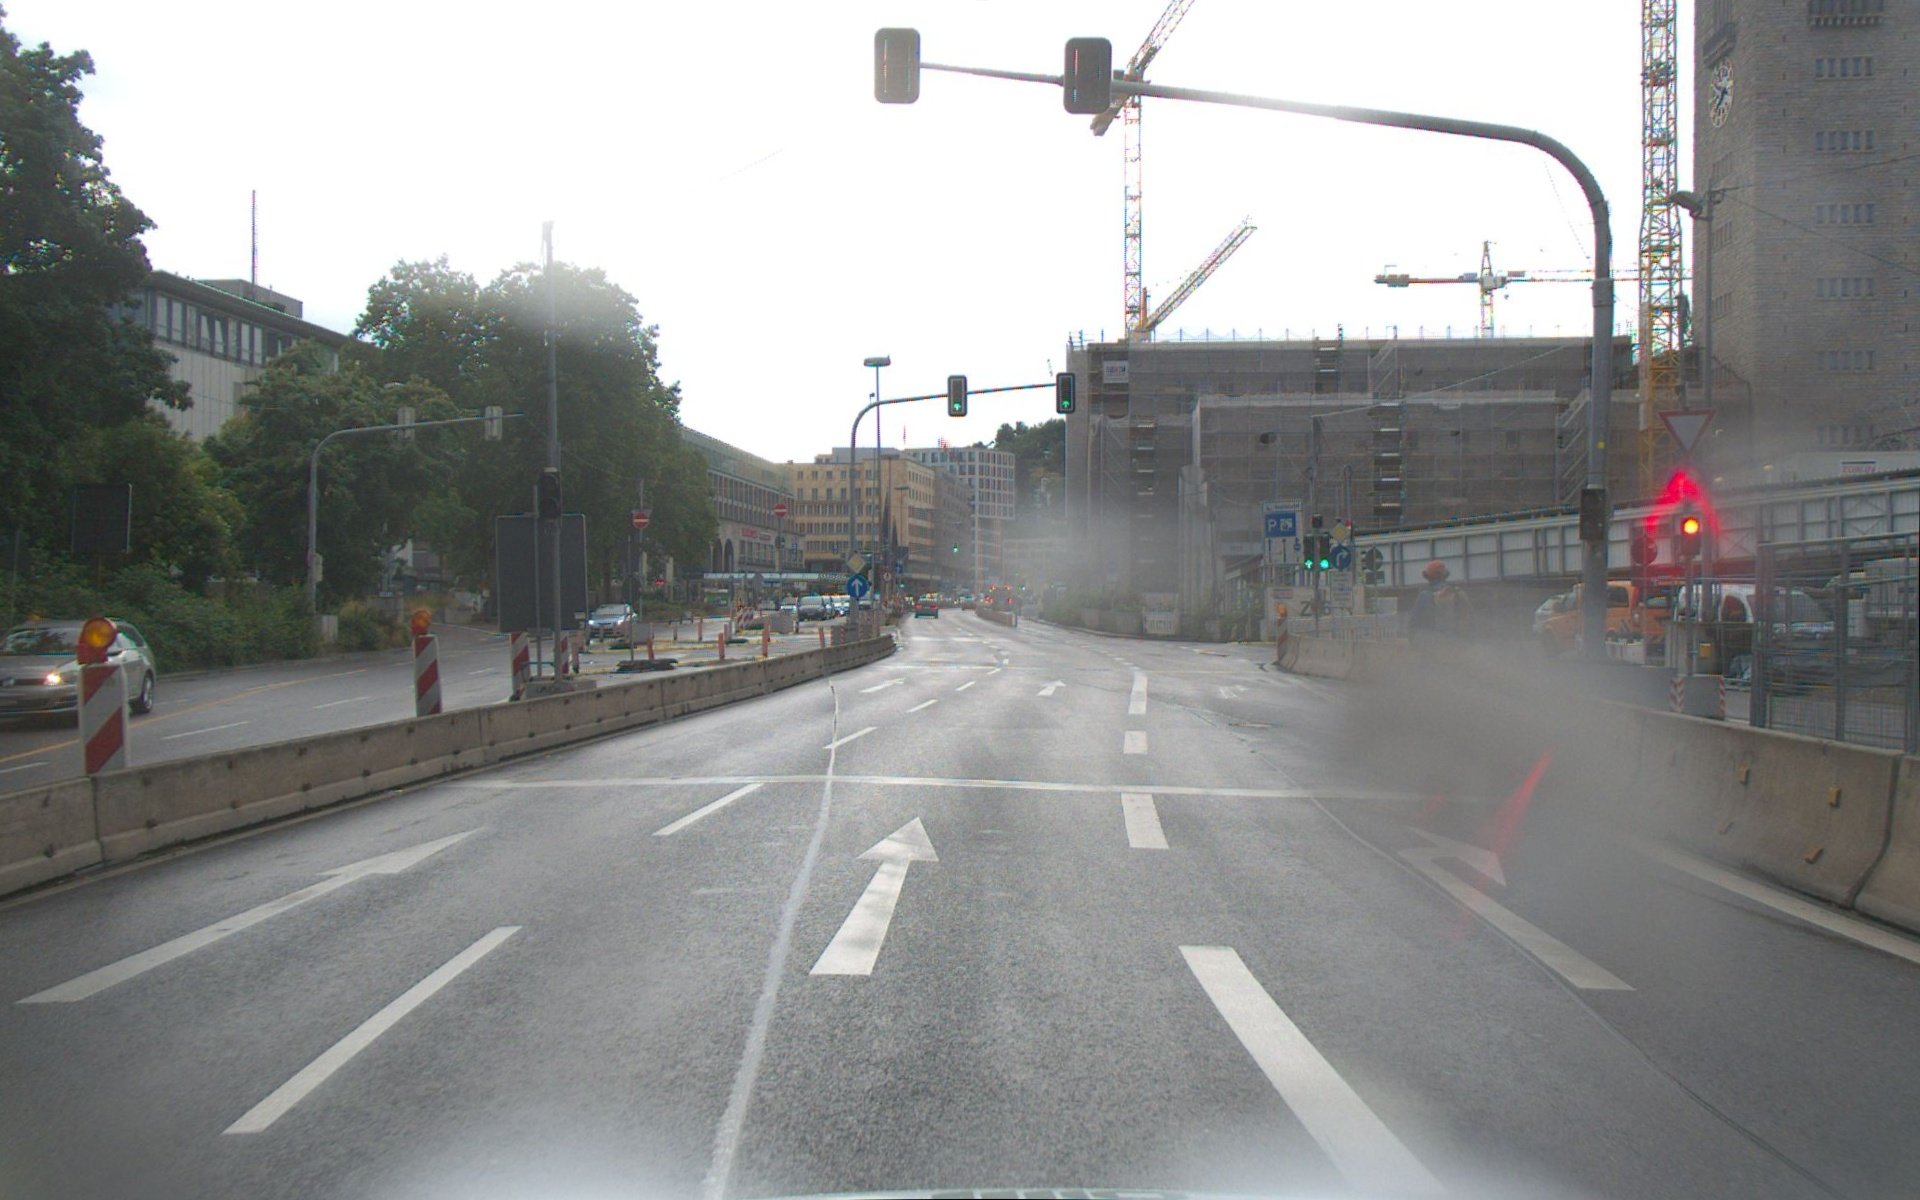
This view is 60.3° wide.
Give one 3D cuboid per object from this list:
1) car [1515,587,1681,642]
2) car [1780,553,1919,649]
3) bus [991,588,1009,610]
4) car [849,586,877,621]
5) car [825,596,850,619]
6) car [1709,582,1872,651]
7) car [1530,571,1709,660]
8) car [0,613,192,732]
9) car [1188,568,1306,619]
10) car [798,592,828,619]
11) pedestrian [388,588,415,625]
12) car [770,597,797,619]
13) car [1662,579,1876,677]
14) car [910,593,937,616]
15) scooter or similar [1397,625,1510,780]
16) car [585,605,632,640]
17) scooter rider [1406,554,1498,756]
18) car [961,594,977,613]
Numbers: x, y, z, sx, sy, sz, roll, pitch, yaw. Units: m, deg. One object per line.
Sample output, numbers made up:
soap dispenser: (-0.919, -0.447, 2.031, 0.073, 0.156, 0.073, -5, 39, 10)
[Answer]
car: (18.534, 0.398, 48.143, 4.121, 1.478, 1.813, -1, 1, -6)
car: (24.197, 0.019, 43.350, 2.006, 2.354, 5.595, -2, 0, -8)
bus: (5.031, -0.108, 206.225, 1.952, 2.474, 4.001, -2, -2, 4)
car: (-6.657, 0.256, 113.418, 1.864, 2.119, 4.173, -2, -2, -3)
car: (-9.470, 0.564, 127.993, 1.864, 1.555, 4.173, -2, -2, -3)
car: (21.589, 0.412, 43.176, 1.902, 1.648, 3.928, -2, 0, -7)
car: (15.880, 0.358, 40.169, 1.875, 2.010, 5.156, 0, 0, -6)
car: (-13.182, 1.080, 24.397, 1.955, 1.568, 4.439, -2, -2, -6)
car: (12.825, -0.318, 74.194, 2.335, 2.169, 4.801, 0, 1, -43)
car: (-10.000, 0.387, 112.691, 1.864, 1.555, 4.173, -2, -2, -3)
pedestrian: (-24.607, 0.274, 72.939, 0.575, 1.585, 1.114, -3, -3, 16)
car: (-14.189, 0.687, 133.212, 1.864, 1.555, 4.173, -2, -2, -3)
car: (16.583, 0.505, 34.234, 1.809, 1.838, 5.085, 0, 1, -1)
car: (-2.847, 0.342, 127.184, 1.864, 1.555, 4.173, -2, -2, -3)
scooter or similar: (4.554, 0.913, 15.355, 0.585, 1.342, 1.667, 0, 0, 1)
car: (-15.998, 1.011, 75.435, 1.732, 1.488, 4.170, -3, 0, -7)
scooter rider: (4.549, 0.495, 15.339, 0.585, 1.817, 0.997, 0, -1, 1)
car: (1.096, 0.436, 200.472, 1.953, 2.049, 3.999, -2, -2, 0)
